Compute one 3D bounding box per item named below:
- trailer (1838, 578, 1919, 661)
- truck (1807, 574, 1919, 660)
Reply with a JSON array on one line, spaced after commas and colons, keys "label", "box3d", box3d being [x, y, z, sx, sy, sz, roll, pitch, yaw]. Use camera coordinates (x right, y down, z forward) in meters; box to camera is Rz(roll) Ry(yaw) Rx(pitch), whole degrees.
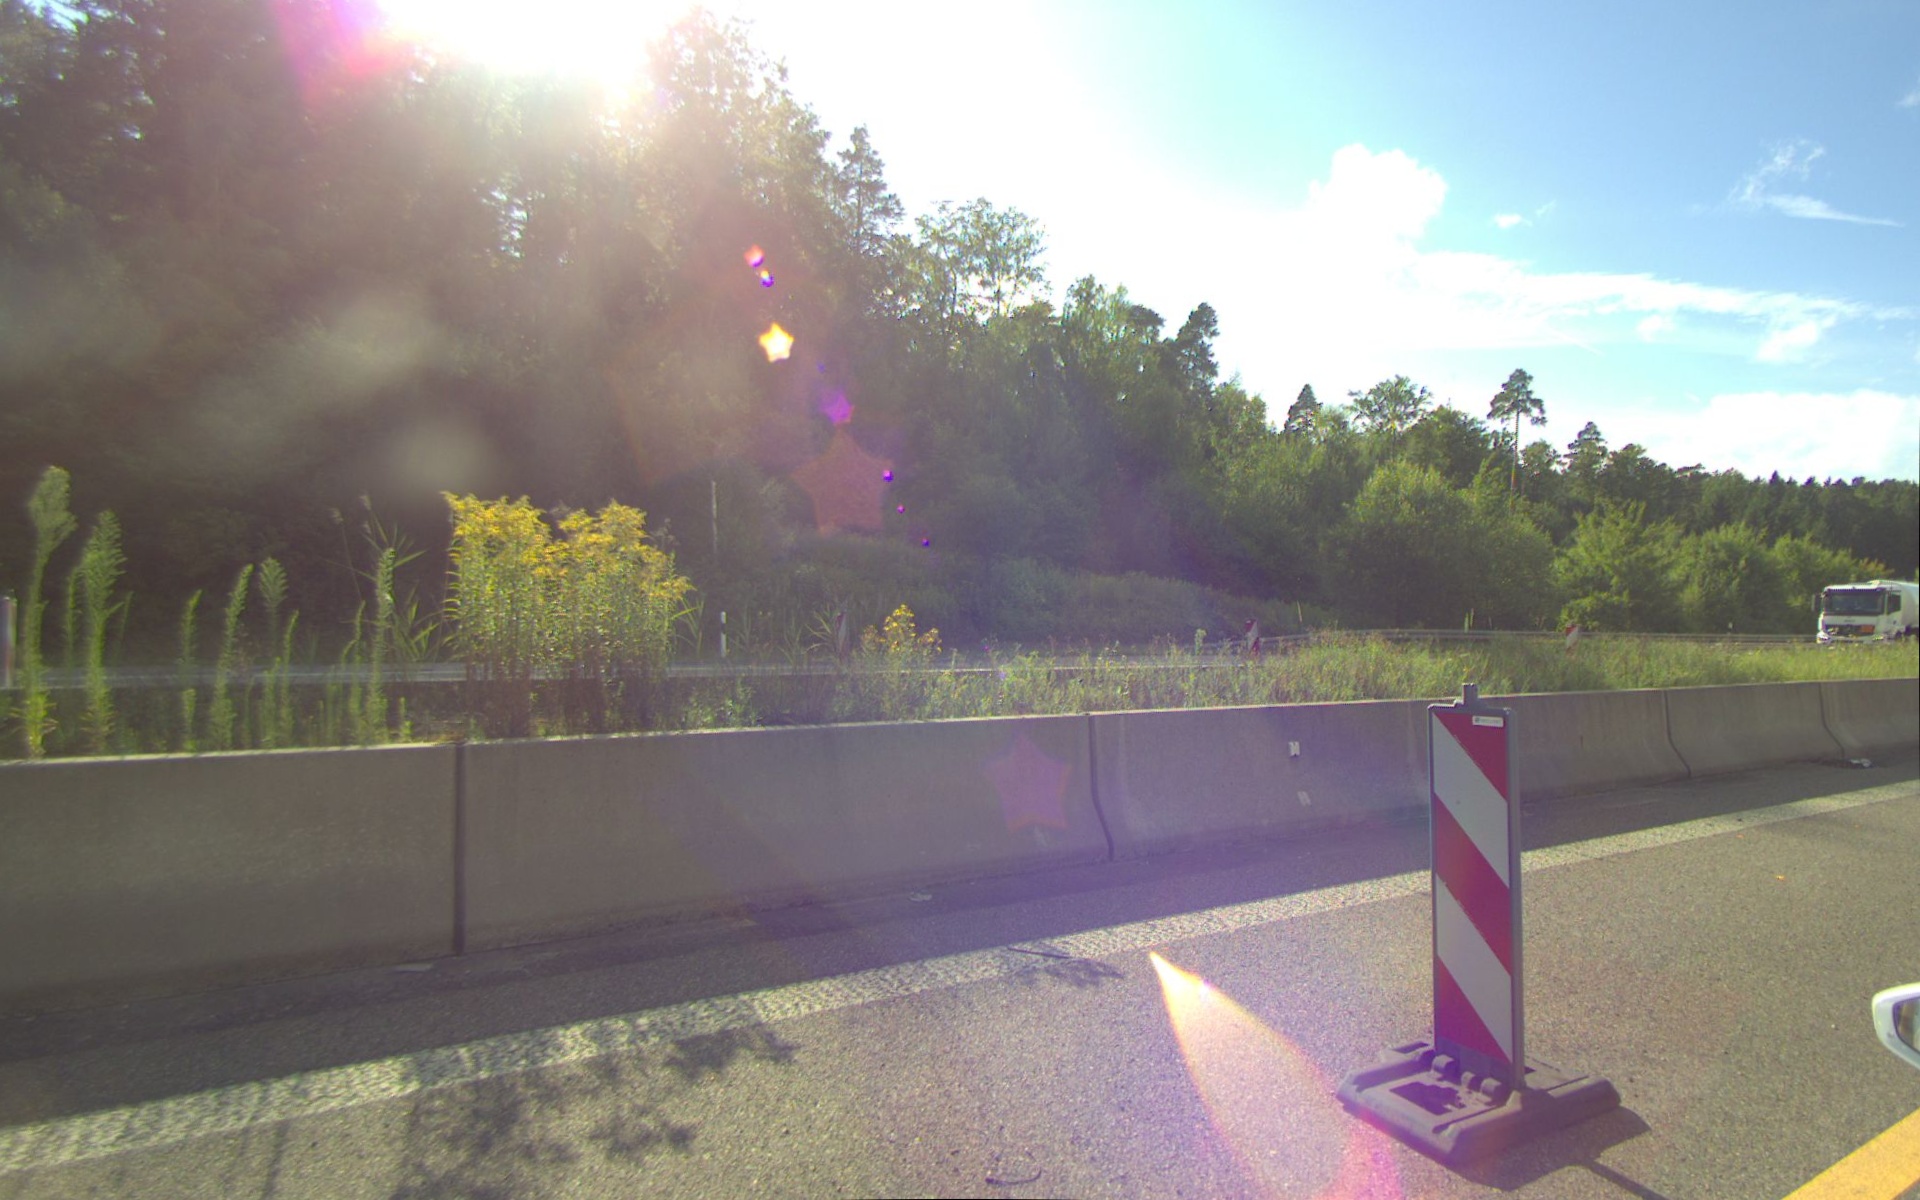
[{"label": "trailer", "box3d": [44.929, 0.945, 46.674, 10.982, 3.536, 2.788, 2, 0, -30]}, {"label": "truck", "box3d": [39.490, 0.740, 43.481, 4.880, 3.536, 2.772, 2, 0, -30]}]
